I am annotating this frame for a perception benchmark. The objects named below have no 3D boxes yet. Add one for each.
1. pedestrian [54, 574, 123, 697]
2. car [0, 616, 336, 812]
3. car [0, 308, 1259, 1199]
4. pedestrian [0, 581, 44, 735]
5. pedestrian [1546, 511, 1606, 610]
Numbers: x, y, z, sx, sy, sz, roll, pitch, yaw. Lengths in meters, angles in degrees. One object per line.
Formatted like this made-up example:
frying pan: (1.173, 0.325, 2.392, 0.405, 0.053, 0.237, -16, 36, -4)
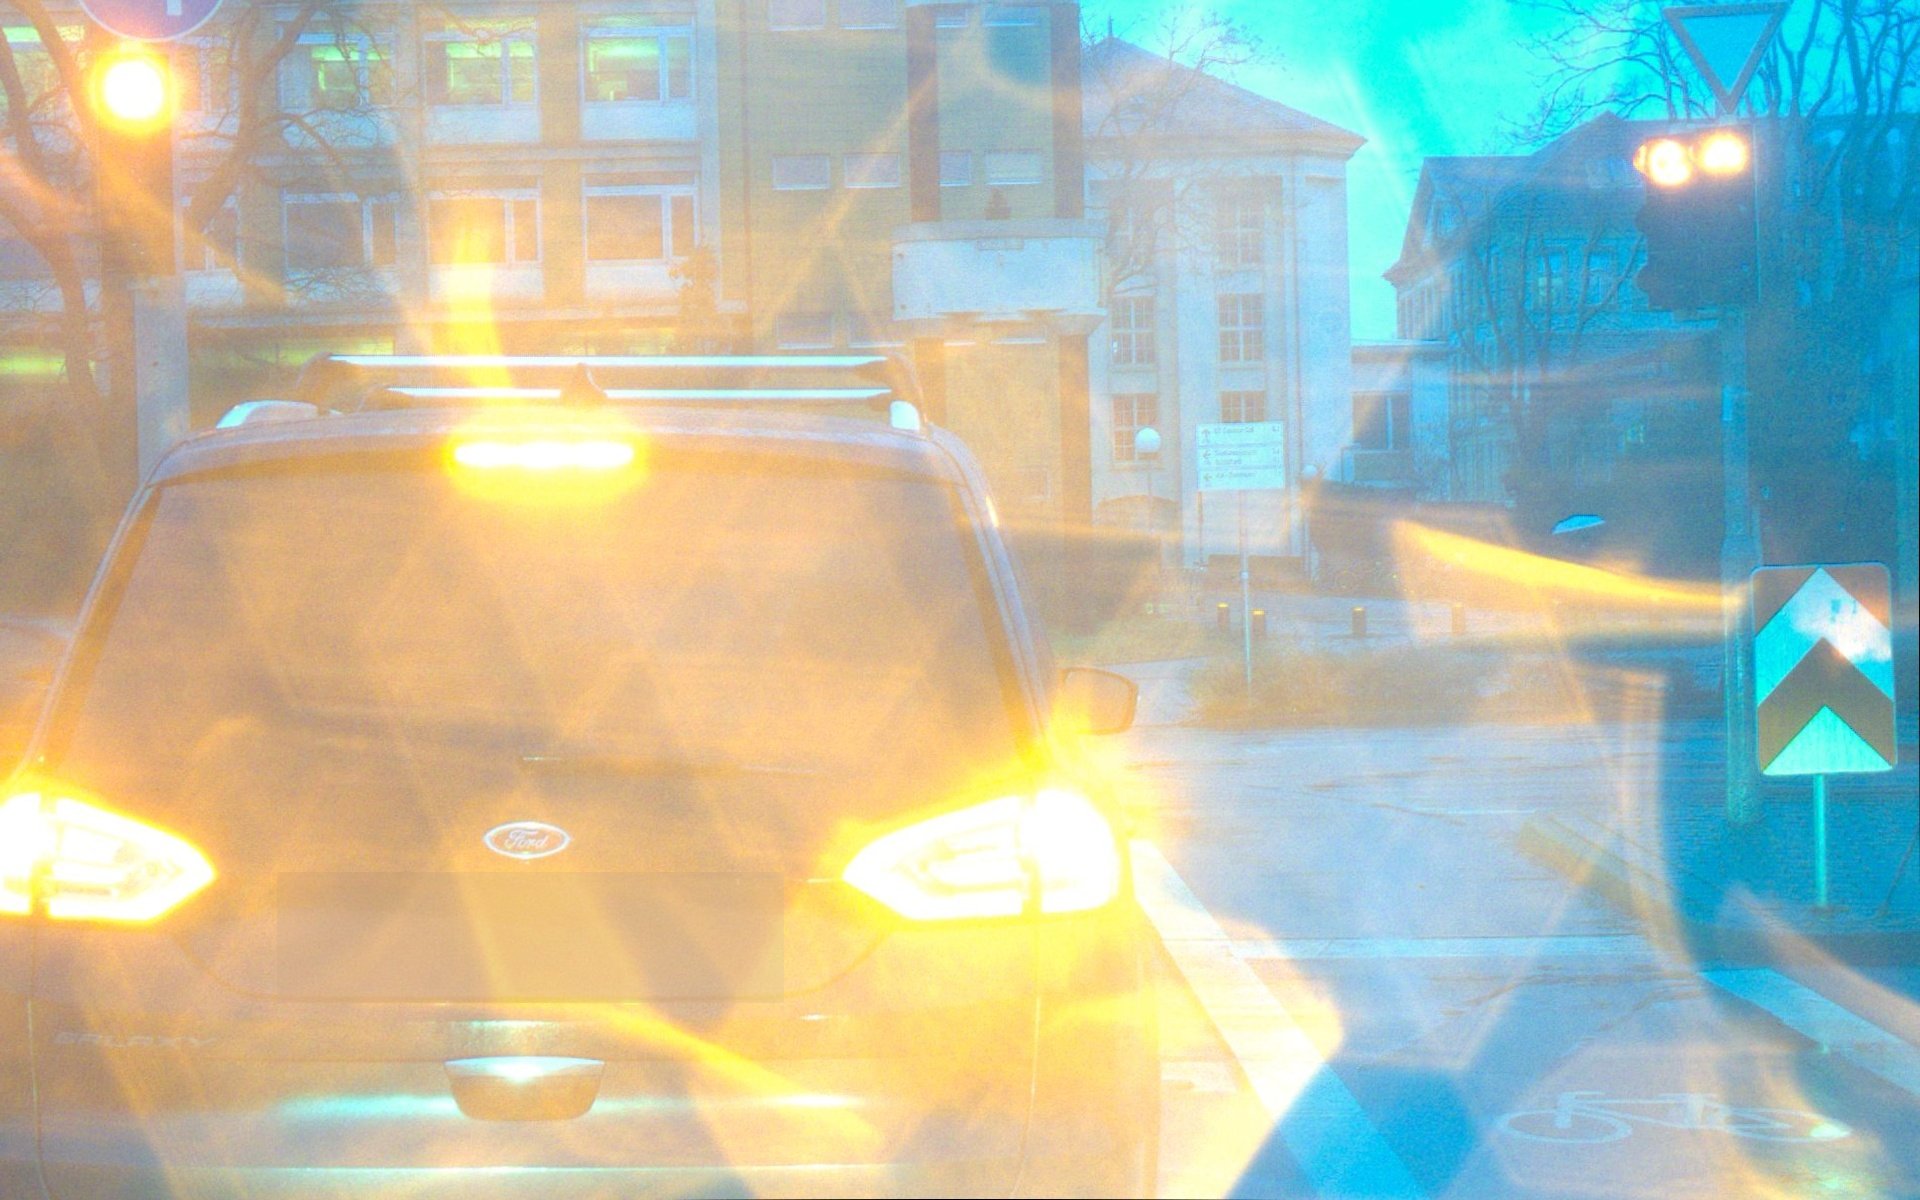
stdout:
pedestrian: (-12.185, 0.495, 48.095, 0.639, 1.682, 0.636, -2, 1, 16)
car: (-6.634, 0.827, 24.930, 3.757, 1.297, 1.700, -2, 0, 14)
car: (-0.636, 0.495, 6.555, 1.993, 1.783, 4.000, 1, 1, -1)
pedestrian: (-12.229, 0.733, 42.810, 1.002, 1.836, 1.138, -2, 3, 23)
pedestrian: (10.414, -0.667, 58.088, 0.720, 1.622, 0.761, -1, 1, 32)
